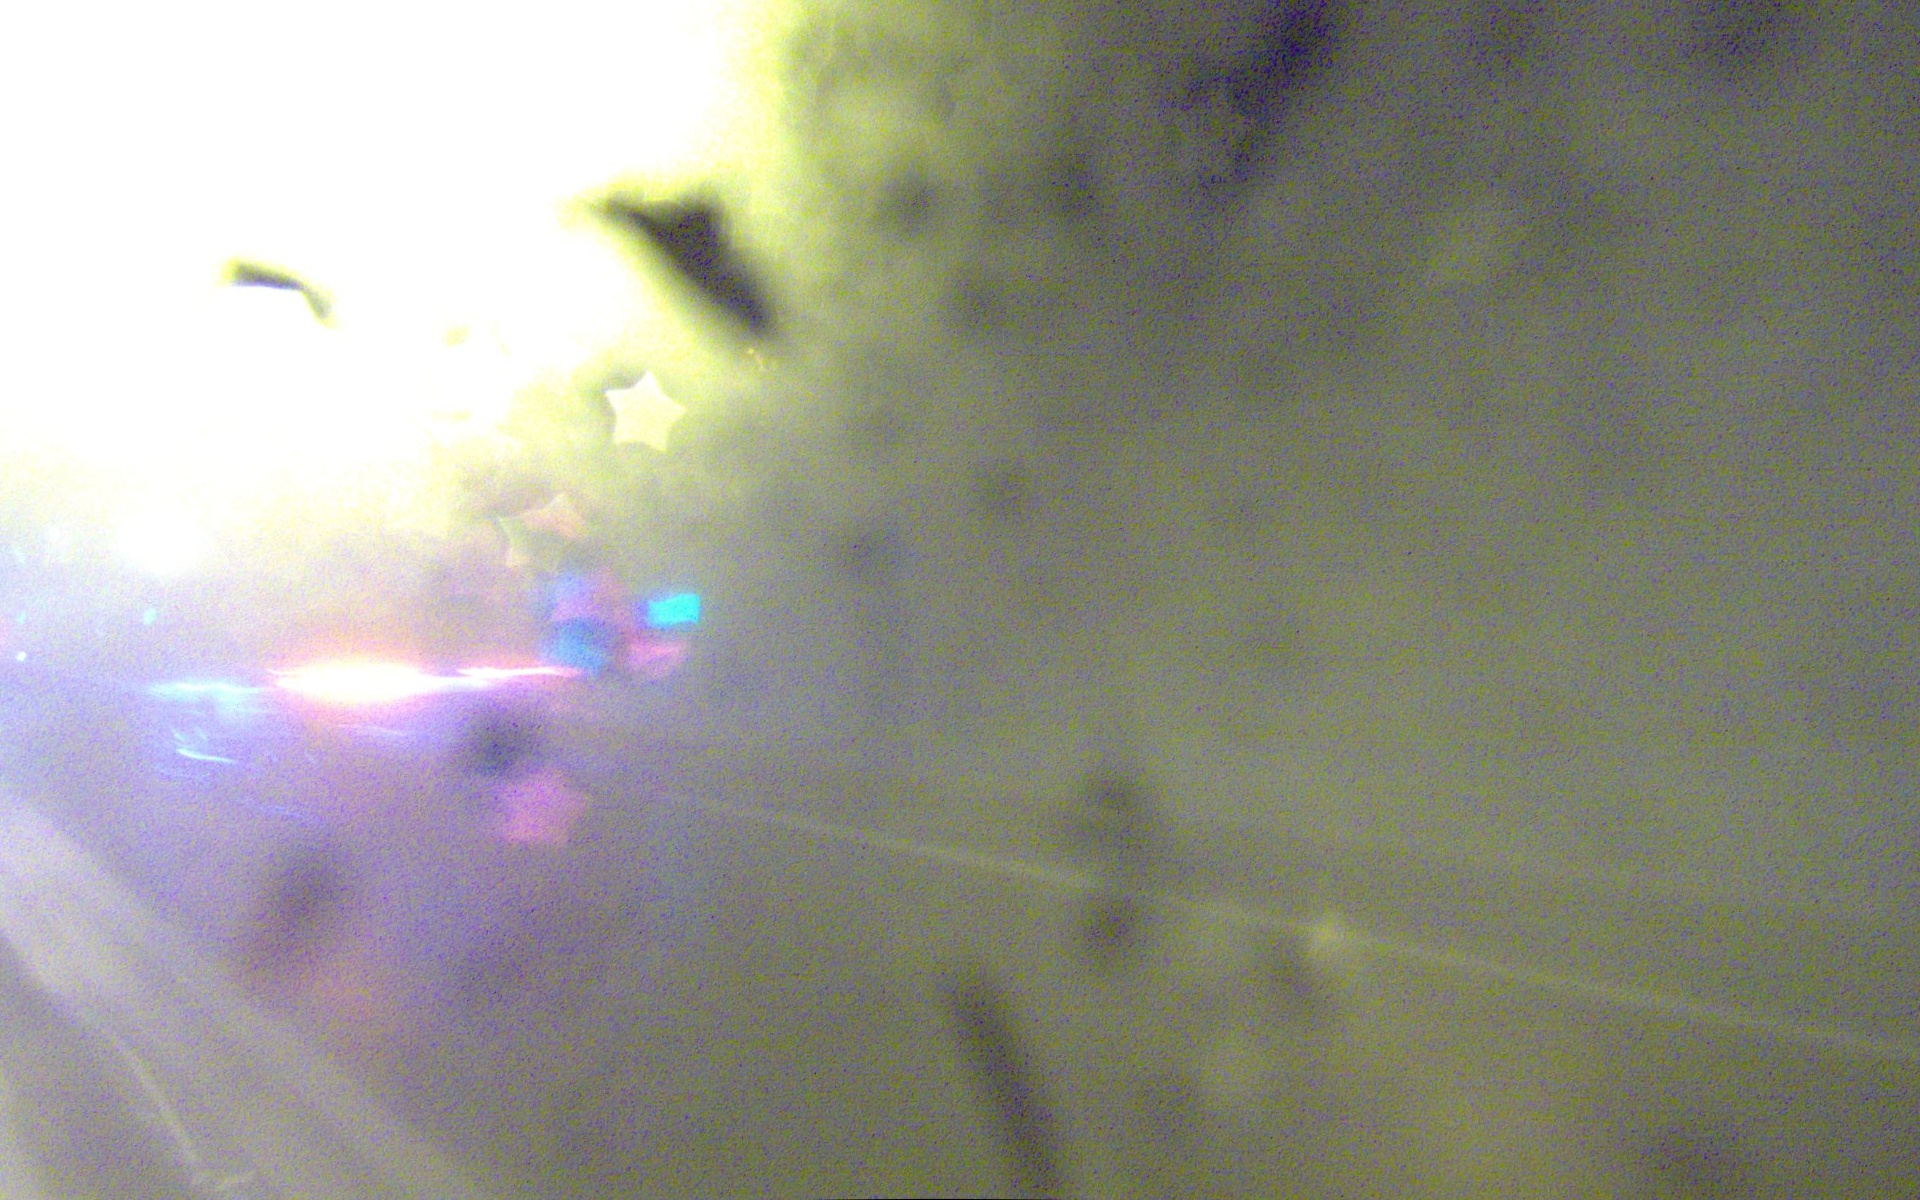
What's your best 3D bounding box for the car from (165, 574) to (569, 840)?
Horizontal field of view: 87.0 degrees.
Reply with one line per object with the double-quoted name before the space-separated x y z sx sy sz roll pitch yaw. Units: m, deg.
"car" -4.976 0.673 8.234 4.143 1.640 1.618 -1 0 41
